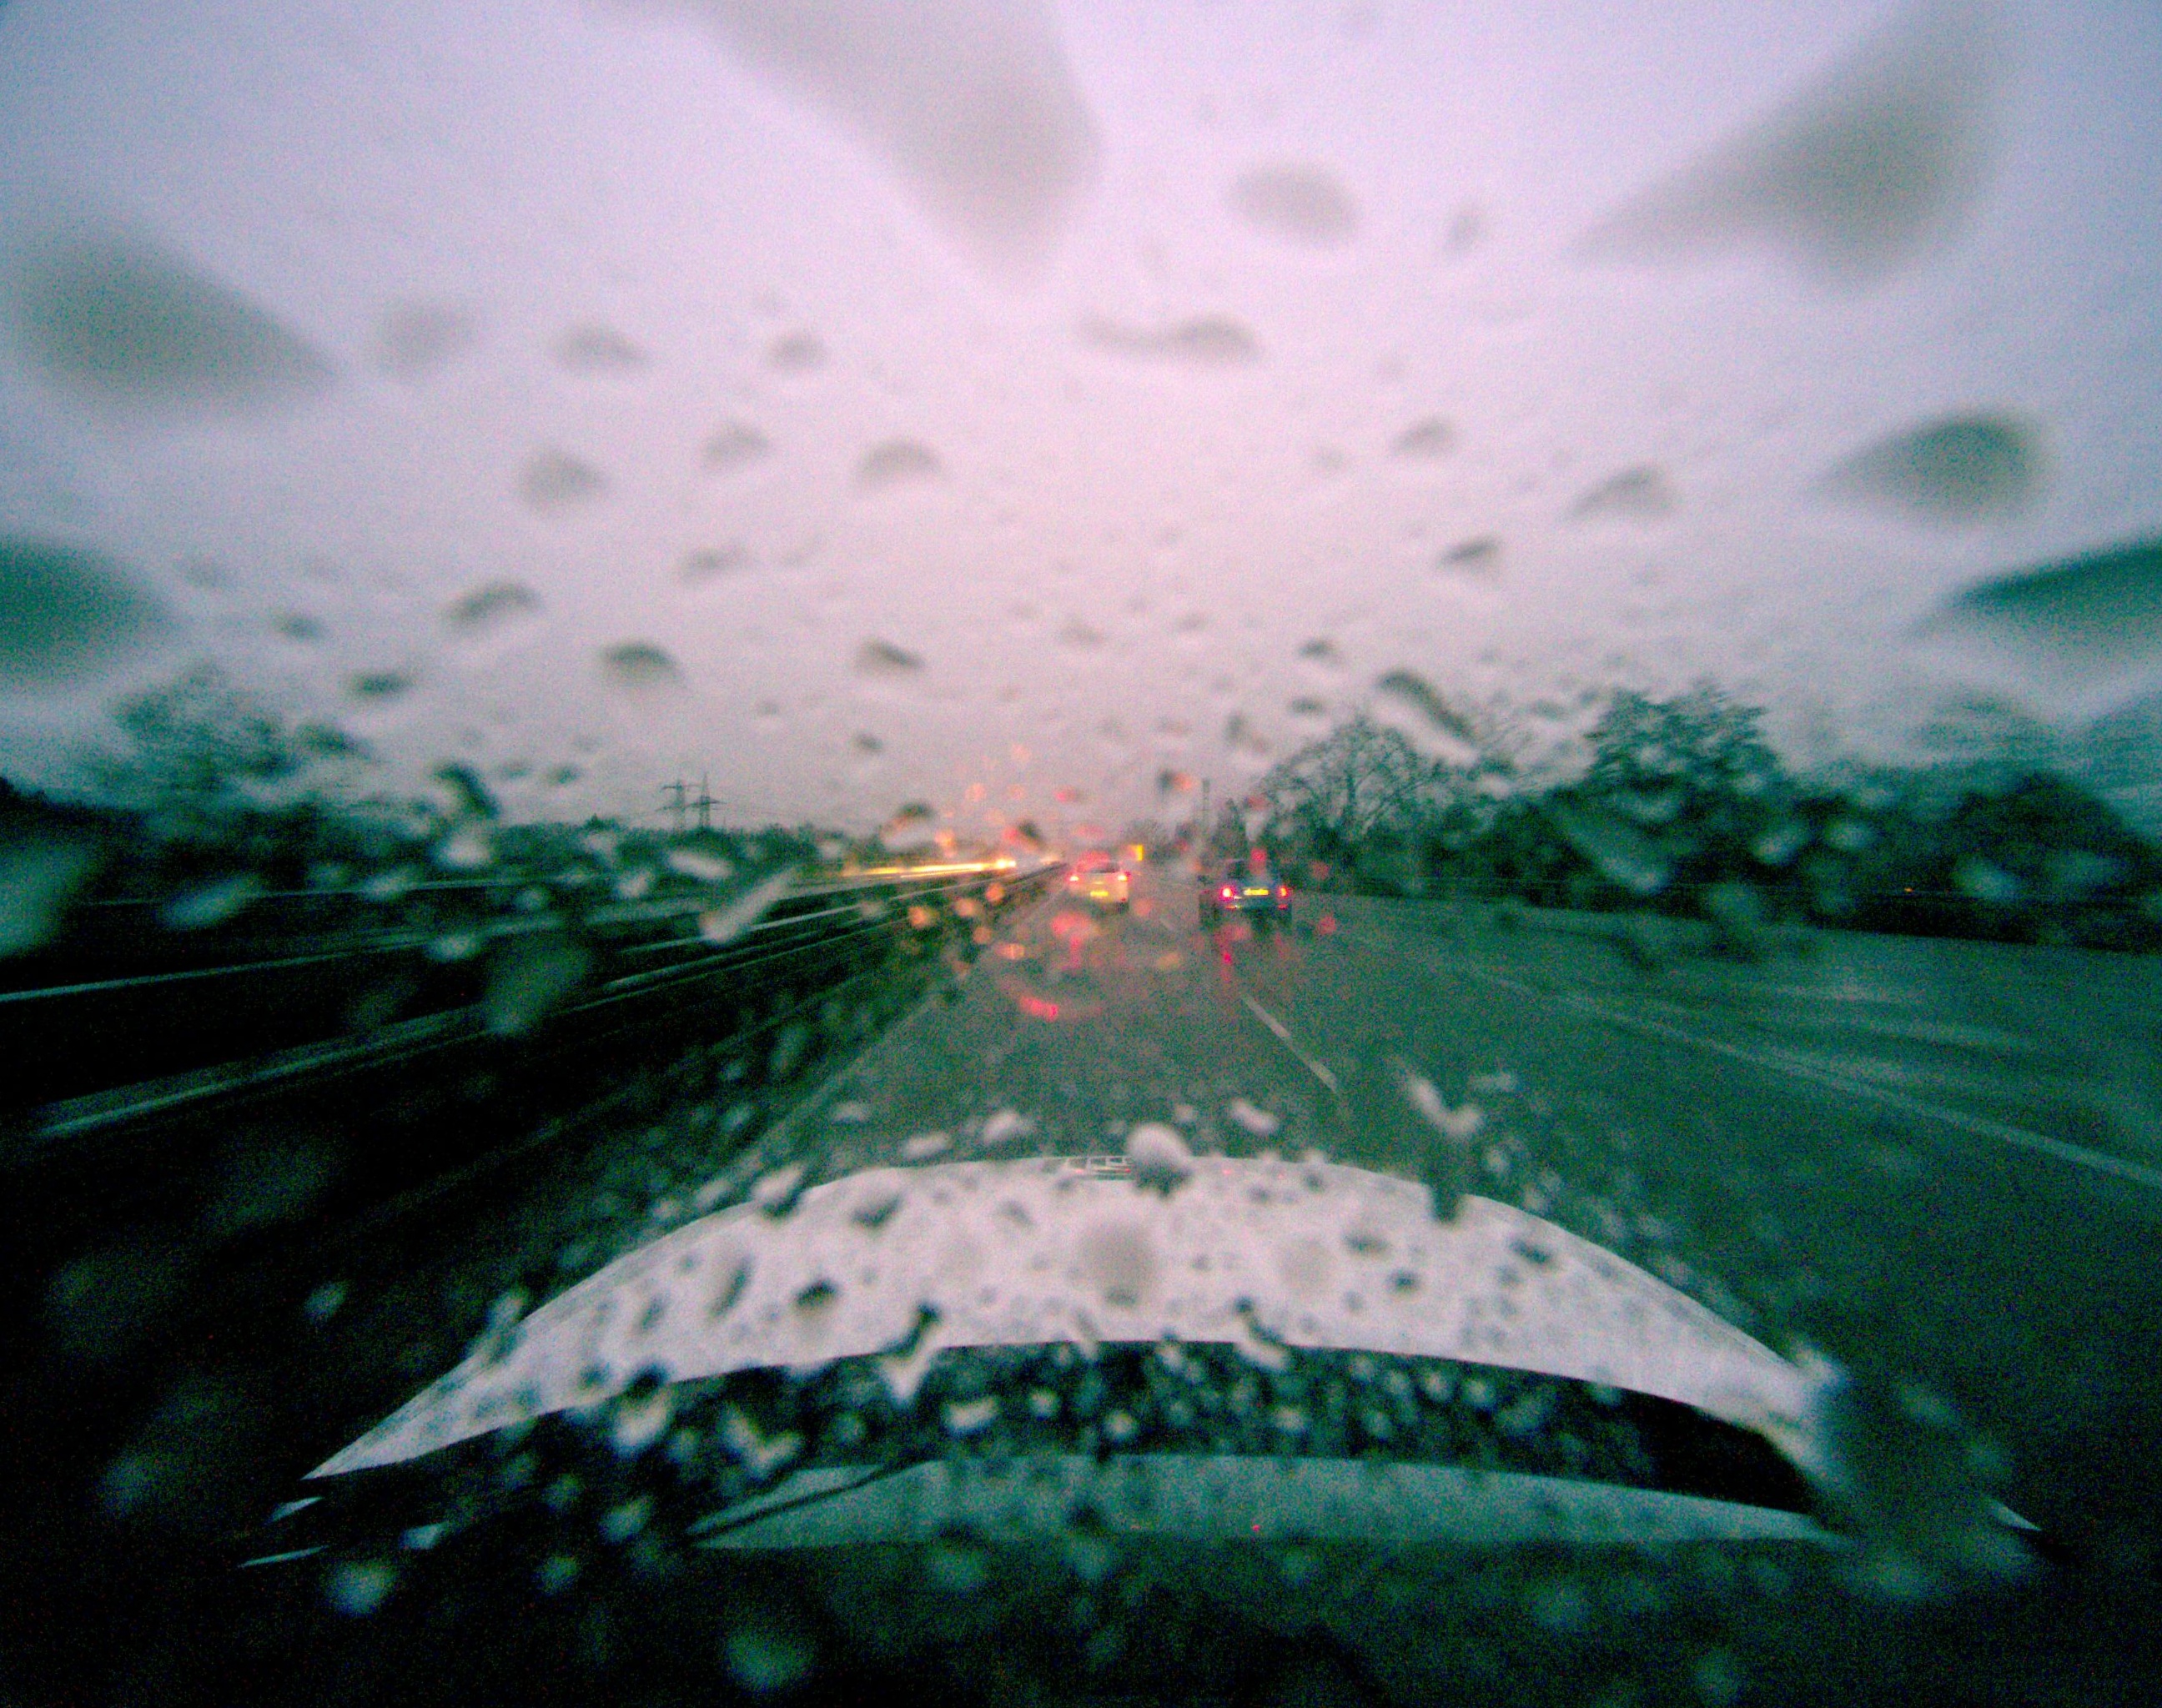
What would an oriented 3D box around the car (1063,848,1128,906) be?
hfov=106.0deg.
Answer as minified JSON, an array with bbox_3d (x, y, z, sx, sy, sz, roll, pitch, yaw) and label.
[{"bbox_3d":[0.478,0.646,24.916,1.838,1.636,3.770,0,0,2],"label":"car"}]

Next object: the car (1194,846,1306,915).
[{"bbox_3d":[3.888,0.545,19.422,1.839,1.453,4.149,-1,0,0],"label":"car"}]

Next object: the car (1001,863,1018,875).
[{"bbox_3d":[-9.629,2.033,109.998,1.849,1.566,3.922,-1,0,0],"label":"car"}]
